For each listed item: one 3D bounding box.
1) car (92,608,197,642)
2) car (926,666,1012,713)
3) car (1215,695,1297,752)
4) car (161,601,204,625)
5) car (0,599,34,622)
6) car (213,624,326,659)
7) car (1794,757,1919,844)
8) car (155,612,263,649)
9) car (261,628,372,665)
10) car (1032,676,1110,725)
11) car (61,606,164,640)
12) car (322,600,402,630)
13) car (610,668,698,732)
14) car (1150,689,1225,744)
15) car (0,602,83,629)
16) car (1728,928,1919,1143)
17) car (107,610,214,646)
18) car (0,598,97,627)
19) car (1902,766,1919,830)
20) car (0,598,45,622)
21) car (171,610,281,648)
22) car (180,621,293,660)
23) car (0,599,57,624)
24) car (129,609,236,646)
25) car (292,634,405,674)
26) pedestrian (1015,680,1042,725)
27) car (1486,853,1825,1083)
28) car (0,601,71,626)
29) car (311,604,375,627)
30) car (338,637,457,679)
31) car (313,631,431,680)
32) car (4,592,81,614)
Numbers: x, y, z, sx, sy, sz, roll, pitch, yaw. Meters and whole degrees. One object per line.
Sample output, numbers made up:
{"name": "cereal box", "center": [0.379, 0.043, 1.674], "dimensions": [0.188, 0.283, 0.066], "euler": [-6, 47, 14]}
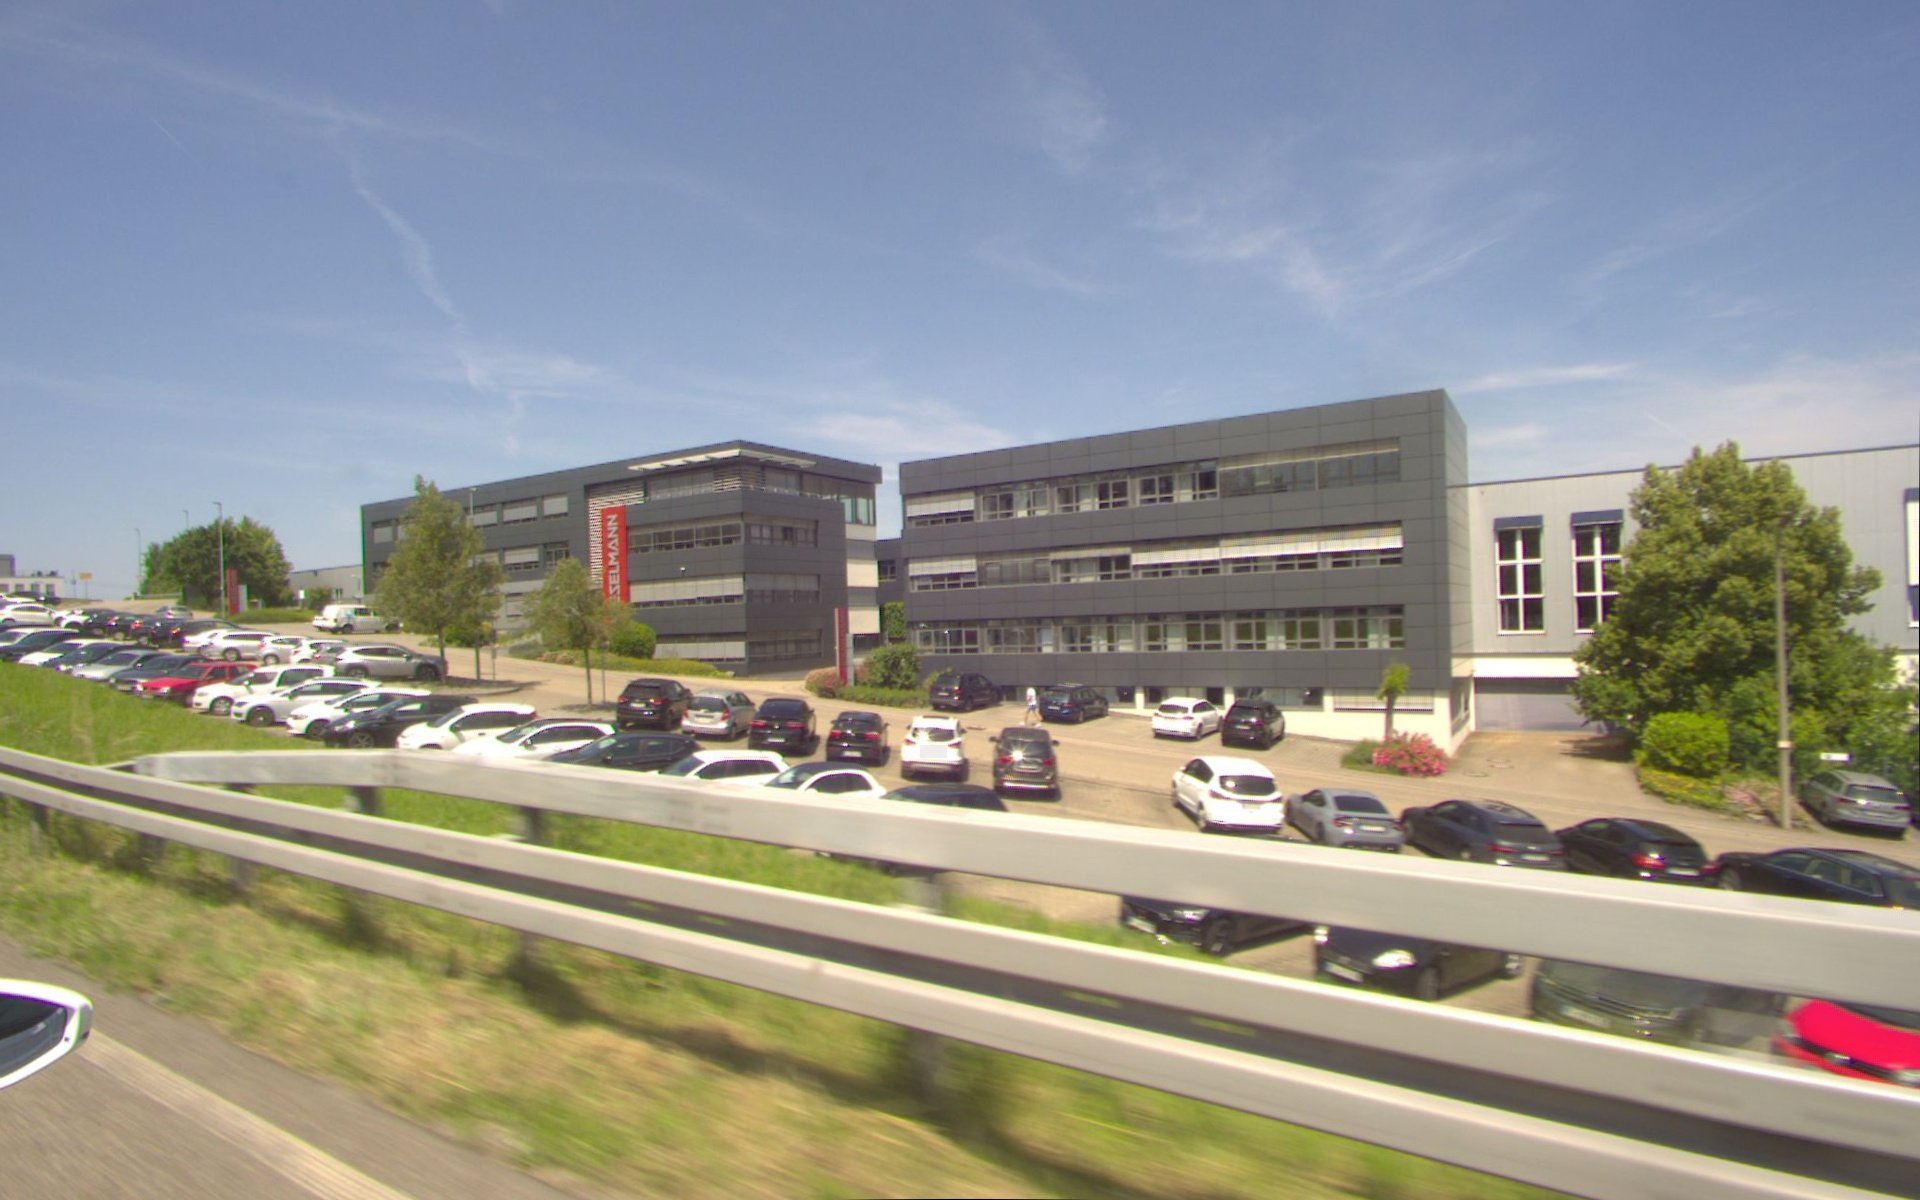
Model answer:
{"name": "car", "center": [-48.867, 1.505, 60.122], "dimensions": [4.527, 1.648, 1.811], "euler": [7, -4, -31]}
{"name": "car", "center": [0.467, 4.007, 45.588], "dimensions": [1.793, 1.670, 4.564], "euler": [3, 1, 31]}
{"name": "car", "center": [11.604, 4.742, 39.038], "dimensions": [1.794, 1.593, 4.561], "euler": [3, 1, 33]}
{"name": "car", "center": [-57.631, 1.011, 74.183], "dimensions": [3.955, 1.683, 1.798], "euler": [-1, -3, 42]}
{"name": "car", "center": [-72.601, 0.722, 74.971], "dimensions": [4.532, 1.649, 1.808], "euler": [3, -3, -37]}
{"name": "car", "center": [-35.027, 2.111, 50.956], "dimensions": [4.518, 1.541, 1.811], "euler": [2, 3, -27]}
{"name": "car", "center": [26.207, 5.780, 29.382], "dimensions": [1.793, 1.593, 4.567], "euler": [2, 0, 30]}
{"name": "car", "center": [-41.756, 1.695, 55.812], "dimensions": [4.527, 1.648, 1.811], "euler": [7, -4, -31]}
{"name": "car", "center": [-31.857, 2.264, 49.740], "dimensions": [4.523, 1.499, 1.808], "euler": [-1, 4, -32]}
{"name": "car", "center": [4.875, 4.293, 43.456], "dimensions": [1.791, 1.593, 4.568], "euler": [3, 1, 28]}
{"name": "car", "center": [-52.497, 1.450, 62.133], "dimensions": [4.527, 1.648, 1.811], "euler": [7, -4, -31]}
{"name": "car", "center": [-42.406, 1.069, 71.055], "dimensions": [1.794, 1.976, 4.561], "euler": [2, 1, 33]}
{"name": "car", "center": [-10.962, 3.545, 36.194], "dimensions": [1.785, 1.651, 4.239], "euler": [4, 2, 0]}
{"name": "car", "center": [9.244, 4.629, 40.437], "dimensions": [1.791, 1.593, 4.568], "euler": [3, 1, 27]}
{"name": "car", "center": [-62.767, 1.058, 68.084], "dimensions": [4.534, 1.649, 1.807], "euler": [5, -3, -37]}
{"name": "car", "center": [11.704, 5.099, 12.090], "dimensions": [4.343, 1.577, 1.980], "euler": [6, -4, -23]}
{"name": "car", "center": [-46.463, 1.642, 58.355], "dimensions": [4.527, 1.648, 1.811], "euler": [7, -4, -31]}
{"name": "car", "center": [-60.563, 0.839, 66.647], "dimensions": [4.533, 1.649, 1.807], "euler": [4, -2, -37]}
{"name": "car", "center": [28.218, 5.891, 27.881], "dimensions": [1.793, 1.594, 4.564], "euler": [2, 2, 30]}
{"name": "car", "center": [-70.306, 0.698, 73.396], "dimensions": [4.532, 1.649, 1.808], "euler": [2, -3, -37]}
{"name": "car", "center": [-39.796, 1.610, 54.439], "dimensions": [4.527, 1.648, 1.811], "euler": [7, -4, -31]}
{"name": "car", "center": [-37.867, 2.138, 52.555], "dimensions": [4.527, 1.648, 1.811], "euler": [7, -4, -31]}
{"name": "car", "center": [-67.854, 0.788, 71.696], "dimensions": [4.534, 1.649, 1.807], "euler": [5, -2, -37]}
{"name": "car", "center": [-44.230, 1.581, 57.098], "dimensions": [4.527, 1.648, 1.811], "euler": [7, -4, -31]}
{"name": "car", "center": [-29.346, 2.613, 48.145], "dimensions": [4.525, 1.651, 1.808], "euler": [3, 4, -32]}
{"name": "pedestrian", "center": [2.795, 4.184, 40.823], "dimensions": [0.816, 1.744, 0.632], "euler": [2, -4, 33]}
{"name": "car", "center": [9.491, 4.740, 13.567], "dimensions": [4.666, 2.037, 2.067], "euler": [7, -4, -32]}
{"name": "car", "center": [-65.233, 0.918, 69.882], "dimensions": [4.531, 1.650, 1.807], "euler": [2, -1, -37]}
{"name": "car", "center": [-45.085, 1.137, 73.255], "dimensions": [1.660, 1.609, 3.653], "euler": [2, 1, 33]}
{"name": "car", "center": [-24.935, 2.527, 44.445], "dimensions": [4.524, 1.651, 1.809], "euler": [2, 2, -32]}
{"name": "car", "center": [-27.211, 2.606, 46.446], "dimensions": [4.529, 1.650, 1.807], "euler": [7, 4, -32]}
{"name": "car", "center": [-79.668, 0.297, 87.017], "dimensions": [4.513, 1.649, 1.815], "euler": [2, -2, -23]}
